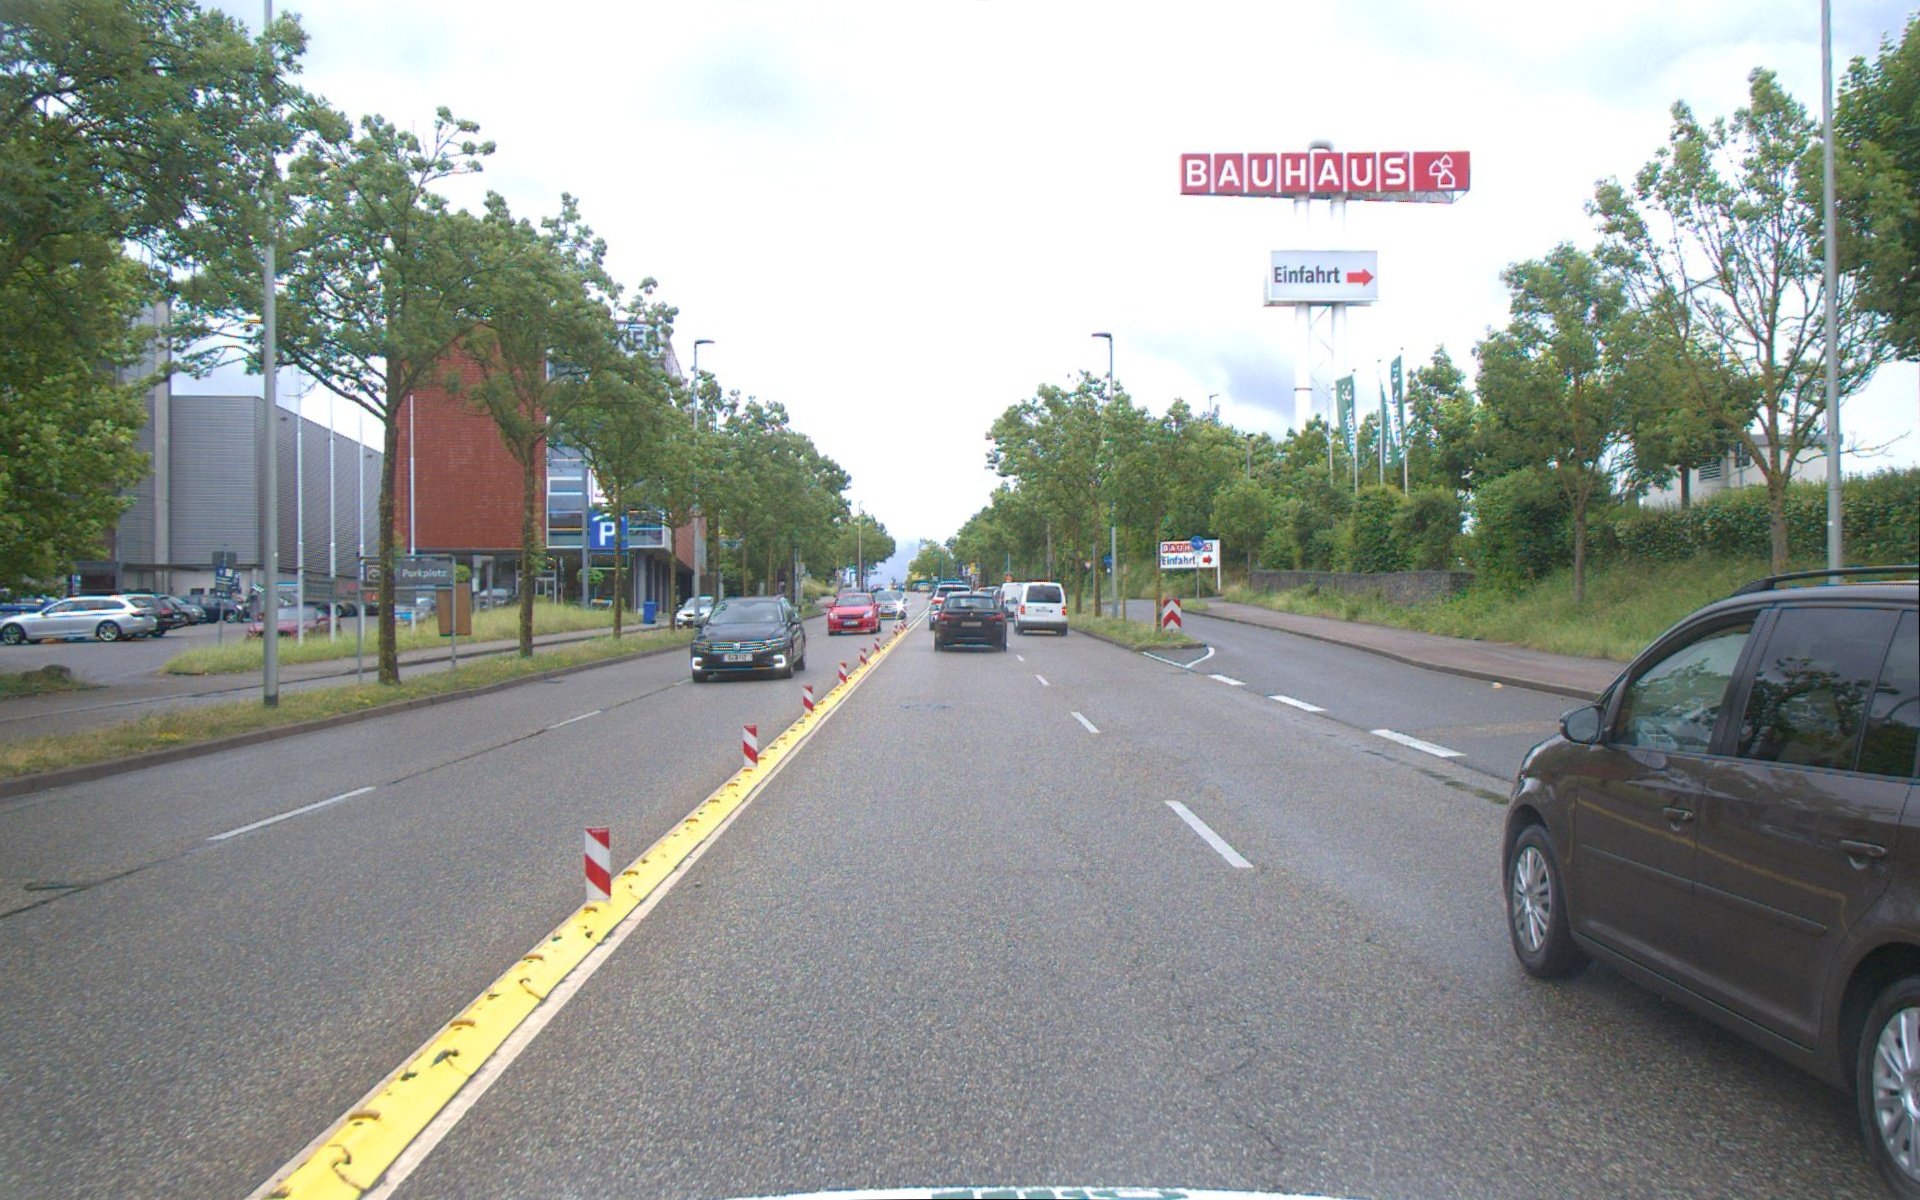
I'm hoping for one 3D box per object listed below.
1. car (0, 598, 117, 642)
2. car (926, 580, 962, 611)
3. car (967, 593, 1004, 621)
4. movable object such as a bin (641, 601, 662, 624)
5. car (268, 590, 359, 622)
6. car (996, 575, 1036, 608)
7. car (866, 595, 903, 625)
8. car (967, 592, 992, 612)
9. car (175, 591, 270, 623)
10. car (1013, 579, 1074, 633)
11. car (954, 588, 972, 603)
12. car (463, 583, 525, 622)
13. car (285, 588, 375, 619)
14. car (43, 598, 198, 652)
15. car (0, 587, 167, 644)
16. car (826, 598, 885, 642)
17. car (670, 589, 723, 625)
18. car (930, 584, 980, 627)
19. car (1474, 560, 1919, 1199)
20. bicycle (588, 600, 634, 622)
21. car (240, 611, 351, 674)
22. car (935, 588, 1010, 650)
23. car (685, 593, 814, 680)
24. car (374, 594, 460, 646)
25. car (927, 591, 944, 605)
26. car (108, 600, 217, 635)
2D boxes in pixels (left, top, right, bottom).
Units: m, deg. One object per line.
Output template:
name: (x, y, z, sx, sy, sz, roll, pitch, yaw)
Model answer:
car: (-34.994, 0.755, 63.197, 4.525, 1.536, 2.021, 1, 2, -9)
car: (-0.836, -0.223, 86.031, 1.758, 1.537, 3.998, 1, 0, -2)
car: (1.457, 0.426, 95.667, 1.759, 1.537, 3.997, 1, 0, -4)
movable object such as a bin: (-15.818, 0.642, 84.908, 0.802, 1.098, 1.086, 3, 0, 0)
car: (-32.977, 0.298, 84.454, 4.033, 1.536, 1.816, 1, 2, -9)
car: (2.714, -0.395, 81.326, 1.758, 1.537, 3.999, 1, 0, -1)
car: (-3.825, 0.493, 84.509, 1.633, 1.434, 4.377, -3, 0, 0)
car: (1.588, 0.172, 135.503, 1.759, 1.537, 3.997, 1, 0, -4)
car: (-37.282, 0.363, 83.700, 4.033, 1.536, 1.816, 1, 2, -9)
car: (2.863, 0.175, 57.740, 1.790, 1.789, 3.999, 1, 0, -2)
car: (0.329, -0.499, 184.666, 1.758, 1.537, 3.998, 1, 0, -2)
car: (-24.037, 0.101, 85.433, 2.095, 1.804, 4.606, 1, 2, -3)
car: (-33.058, 0.178, 86.836, 4.113, 1.536, 1.816, 1, 2, -9)
car: (-29.301, 0.865, 57.837, 4.416, 1.776, 1.897, 1, 1, -9)
car: (-29.094, 0.514, 54.986, 4.514, 1.776, 1.963, 1, 1, -9)
car: (-3.674, 0.681, 58.651, 1.726, 1.450, 4.180, -1, 0, 1)
car: (-12.651, 0.330, 79.720, 1.829, 1.580, 4.574, -3, 0, -1)
car: (-0.204, 0.211, 62.349, 1.758, 1.537, 3.999, 1, 0, -1)
car: (3.212, 0.717, 5.380, 1.651, 1.609, 4.217, 1, 0, -2)
bicycle: (-17.696, 0.546, 83.928, 2.034, 0.951, 1.094, 4, 0, 3)
car: (-20.207, 1.260, 50.507, 1.895, 1.636, 4.706, 1, 2, -6)
car: (0.326, 0.446, 42.268, 1.789, 1.494, 4.000, -1, 0, 1)
car: (-3.869, 0.633, 31.124, 1.789, 1.491, 4.616, -1, 0, 0)
car: (-21.265, 0.756, 64.961, 1.999, 1.792, 4.943, 1, 2, -4)
car: (-2.766, -0.223, 184.410, 1.758, 1.537, 3.998, 1, 0, -2)
car: (-37.181, 0.798, 77.177, 4.196, 1.536, 1.844, 1, 2, -9)
